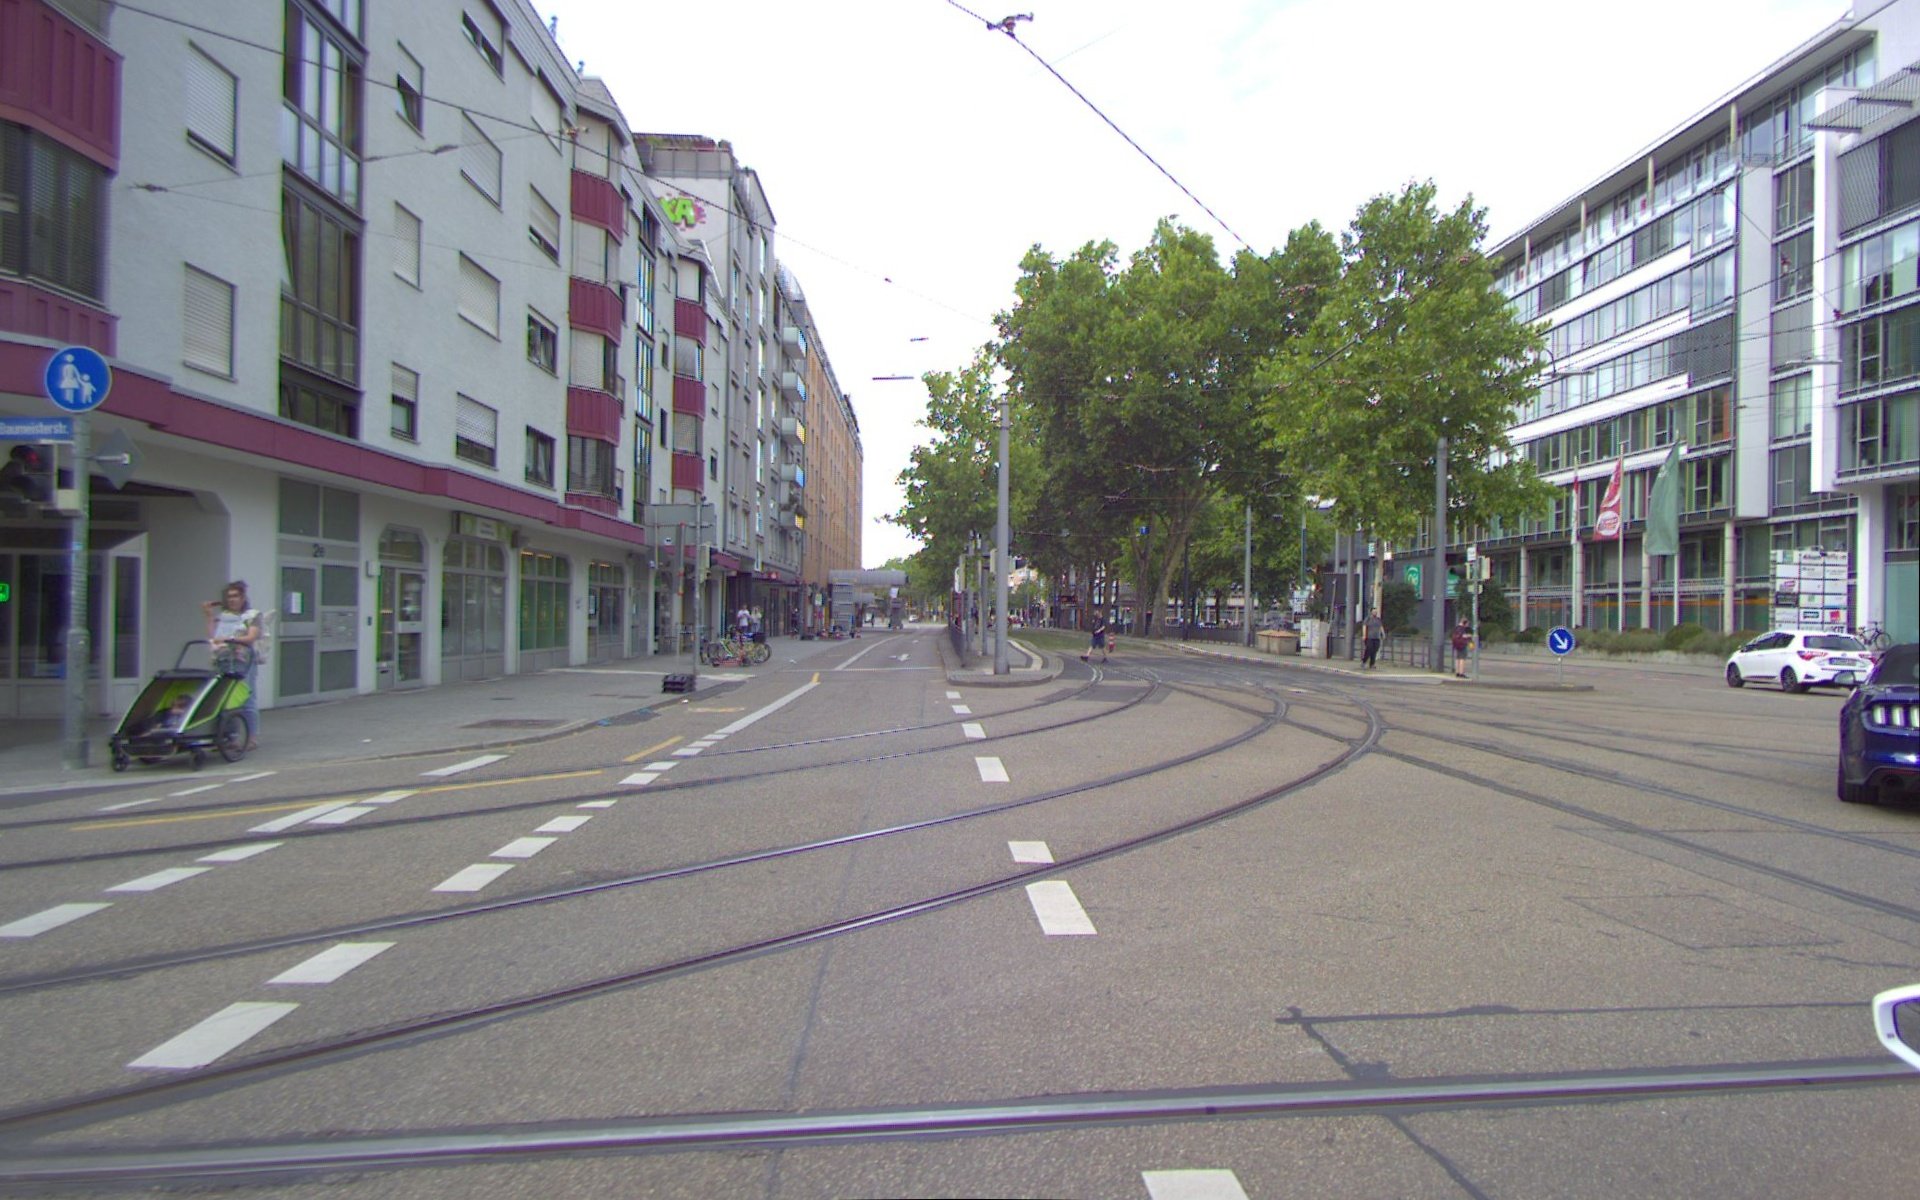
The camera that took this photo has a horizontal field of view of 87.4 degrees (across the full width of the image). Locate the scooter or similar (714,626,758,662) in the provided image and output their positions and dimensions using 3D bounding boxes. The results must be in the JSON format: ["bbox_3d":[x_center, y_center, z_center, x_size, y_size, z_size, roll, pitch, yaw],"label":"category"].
[{"bbox_3d":[-6.601,1.309,29.615,1.159,1.001,0.349,4,-2,-25],"label":"scooter or similar"}]

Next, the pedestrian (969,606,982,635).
[{"bbox_3d":[1.086,1.407,69.045,0.802,1.912,0.785,1,-1,-4],"label":"pedestrian"}]

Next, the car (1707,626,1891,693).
[{"bbox_3d":[20.539,1.405,24.829,1.804,1.458,4.190,1,-1,13],"label":"car"}]

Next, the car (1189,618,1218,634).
[{"bbox_3d":[24.973,2.649,103.141,1.849,1.603,4.324,2,-1,-1],"label":"car"}]

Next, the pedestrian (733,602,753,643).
[{"bbox_3d":[-9.696,0.984,44.927,0.745,1.799,0.896,1,0,-5],"label":"pedestrian"}]

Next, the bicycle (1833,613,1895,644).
[{"bbox_3d":[36.904,1.146,41.000,2.074,1.193,0.586,2,1,-5],"label":"bicycle"}]

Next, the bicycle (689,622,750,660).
[{"bbox_3d":[-7.218,1.226,30.190,1.700,1.031,0.478,4,-1,-8],"label":"bicycle"}]

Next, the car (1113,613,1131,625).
[{"bbox_3d":[21.857,2.568,135.516,1.805,1.541,4.176,1,-1,0],"label":"car"}]

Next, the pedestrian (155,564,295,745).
[{"bbox_3d":[-7.518,0.541,10.325,0.797,1.767,0.949,1,0,-10],"label":"pedestrian"}]

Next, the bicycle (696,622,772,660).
[{"bbox_3d":[-6.931,1.255,30.823,2.139,1.031,0.628,4,-1,-1],"label":"bicycle"}]

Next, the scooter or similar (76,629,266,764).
[{"bbox_3d":[-7.360,0.869,9.448,0.929,1.143,1.197,1,0,-9],"label":"scooter or similar"}]

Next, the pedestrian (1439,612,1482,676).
[{"bbox_3d":[13.534,1.189,27.182,0.750,1.693,0.939,1,-1,6],"label":"pedestrian"}]

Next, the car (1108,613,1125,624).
[{"bbox_3d":[22.100,2.588,142.009,1.805,1.541,4.176,1,-1,0],"label":"car"}]

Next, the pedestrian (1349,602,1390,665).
[{"bbox_3d":[12.593,1.025,30.884,0.828,1.880,0.841,1,-1,-21],"label":"pedestrian"}]

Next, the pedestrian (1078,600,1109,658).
[{"bbox_3d":[4.478,0.970,33.626,0.982,1.924,0.806,1,-1,9],"label":"pedestrian"}]

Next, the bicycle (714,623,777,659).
[{"bbox_3d":[-6.879,1.325,32.283,1.850,1.031,0.627,4,-1,-8],"label":"bicycle"}]

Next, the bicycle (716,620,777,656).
[{"bbox_3d":[-6.986,1.239,32.991,1.850,1.031,0.709,4,-1,-8],"label":"bicycle"}]

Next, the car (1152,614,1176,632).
[{"bbox_3d":[22.939,2.615,112.998,1.859,1.928,4.130,1,-1,0],"label":"car"}]

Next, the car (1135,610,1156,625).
[{"bbox_3d":[23.129,2.187,125.528,1.805,1.928,4.176,1,-1,0],"label":"car"}]

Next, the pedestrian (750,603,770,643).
[{"bbox_3d":[-8.970,1.015,45.091,0.745,1.758,0.896,1,0,-5],"label":"pedestrian"}]

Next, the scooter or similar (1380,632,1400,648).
[{"bbox_3d":[27.443,2.543,64.155,0.577,0.963,1.860,1,-1,4],"label":"scooter or similar"}]

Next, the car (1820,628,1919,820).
[{"bbox_3d":[9.048,0.991,8.785,4.251,1.423,1.858,1,0,-43],"label":"car"}]

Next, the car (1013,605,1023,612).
[{"bbox_3d":[12.639,1.883,219.580,1.805,1.541,4.176,1,-1,0],"label":"car"}]
